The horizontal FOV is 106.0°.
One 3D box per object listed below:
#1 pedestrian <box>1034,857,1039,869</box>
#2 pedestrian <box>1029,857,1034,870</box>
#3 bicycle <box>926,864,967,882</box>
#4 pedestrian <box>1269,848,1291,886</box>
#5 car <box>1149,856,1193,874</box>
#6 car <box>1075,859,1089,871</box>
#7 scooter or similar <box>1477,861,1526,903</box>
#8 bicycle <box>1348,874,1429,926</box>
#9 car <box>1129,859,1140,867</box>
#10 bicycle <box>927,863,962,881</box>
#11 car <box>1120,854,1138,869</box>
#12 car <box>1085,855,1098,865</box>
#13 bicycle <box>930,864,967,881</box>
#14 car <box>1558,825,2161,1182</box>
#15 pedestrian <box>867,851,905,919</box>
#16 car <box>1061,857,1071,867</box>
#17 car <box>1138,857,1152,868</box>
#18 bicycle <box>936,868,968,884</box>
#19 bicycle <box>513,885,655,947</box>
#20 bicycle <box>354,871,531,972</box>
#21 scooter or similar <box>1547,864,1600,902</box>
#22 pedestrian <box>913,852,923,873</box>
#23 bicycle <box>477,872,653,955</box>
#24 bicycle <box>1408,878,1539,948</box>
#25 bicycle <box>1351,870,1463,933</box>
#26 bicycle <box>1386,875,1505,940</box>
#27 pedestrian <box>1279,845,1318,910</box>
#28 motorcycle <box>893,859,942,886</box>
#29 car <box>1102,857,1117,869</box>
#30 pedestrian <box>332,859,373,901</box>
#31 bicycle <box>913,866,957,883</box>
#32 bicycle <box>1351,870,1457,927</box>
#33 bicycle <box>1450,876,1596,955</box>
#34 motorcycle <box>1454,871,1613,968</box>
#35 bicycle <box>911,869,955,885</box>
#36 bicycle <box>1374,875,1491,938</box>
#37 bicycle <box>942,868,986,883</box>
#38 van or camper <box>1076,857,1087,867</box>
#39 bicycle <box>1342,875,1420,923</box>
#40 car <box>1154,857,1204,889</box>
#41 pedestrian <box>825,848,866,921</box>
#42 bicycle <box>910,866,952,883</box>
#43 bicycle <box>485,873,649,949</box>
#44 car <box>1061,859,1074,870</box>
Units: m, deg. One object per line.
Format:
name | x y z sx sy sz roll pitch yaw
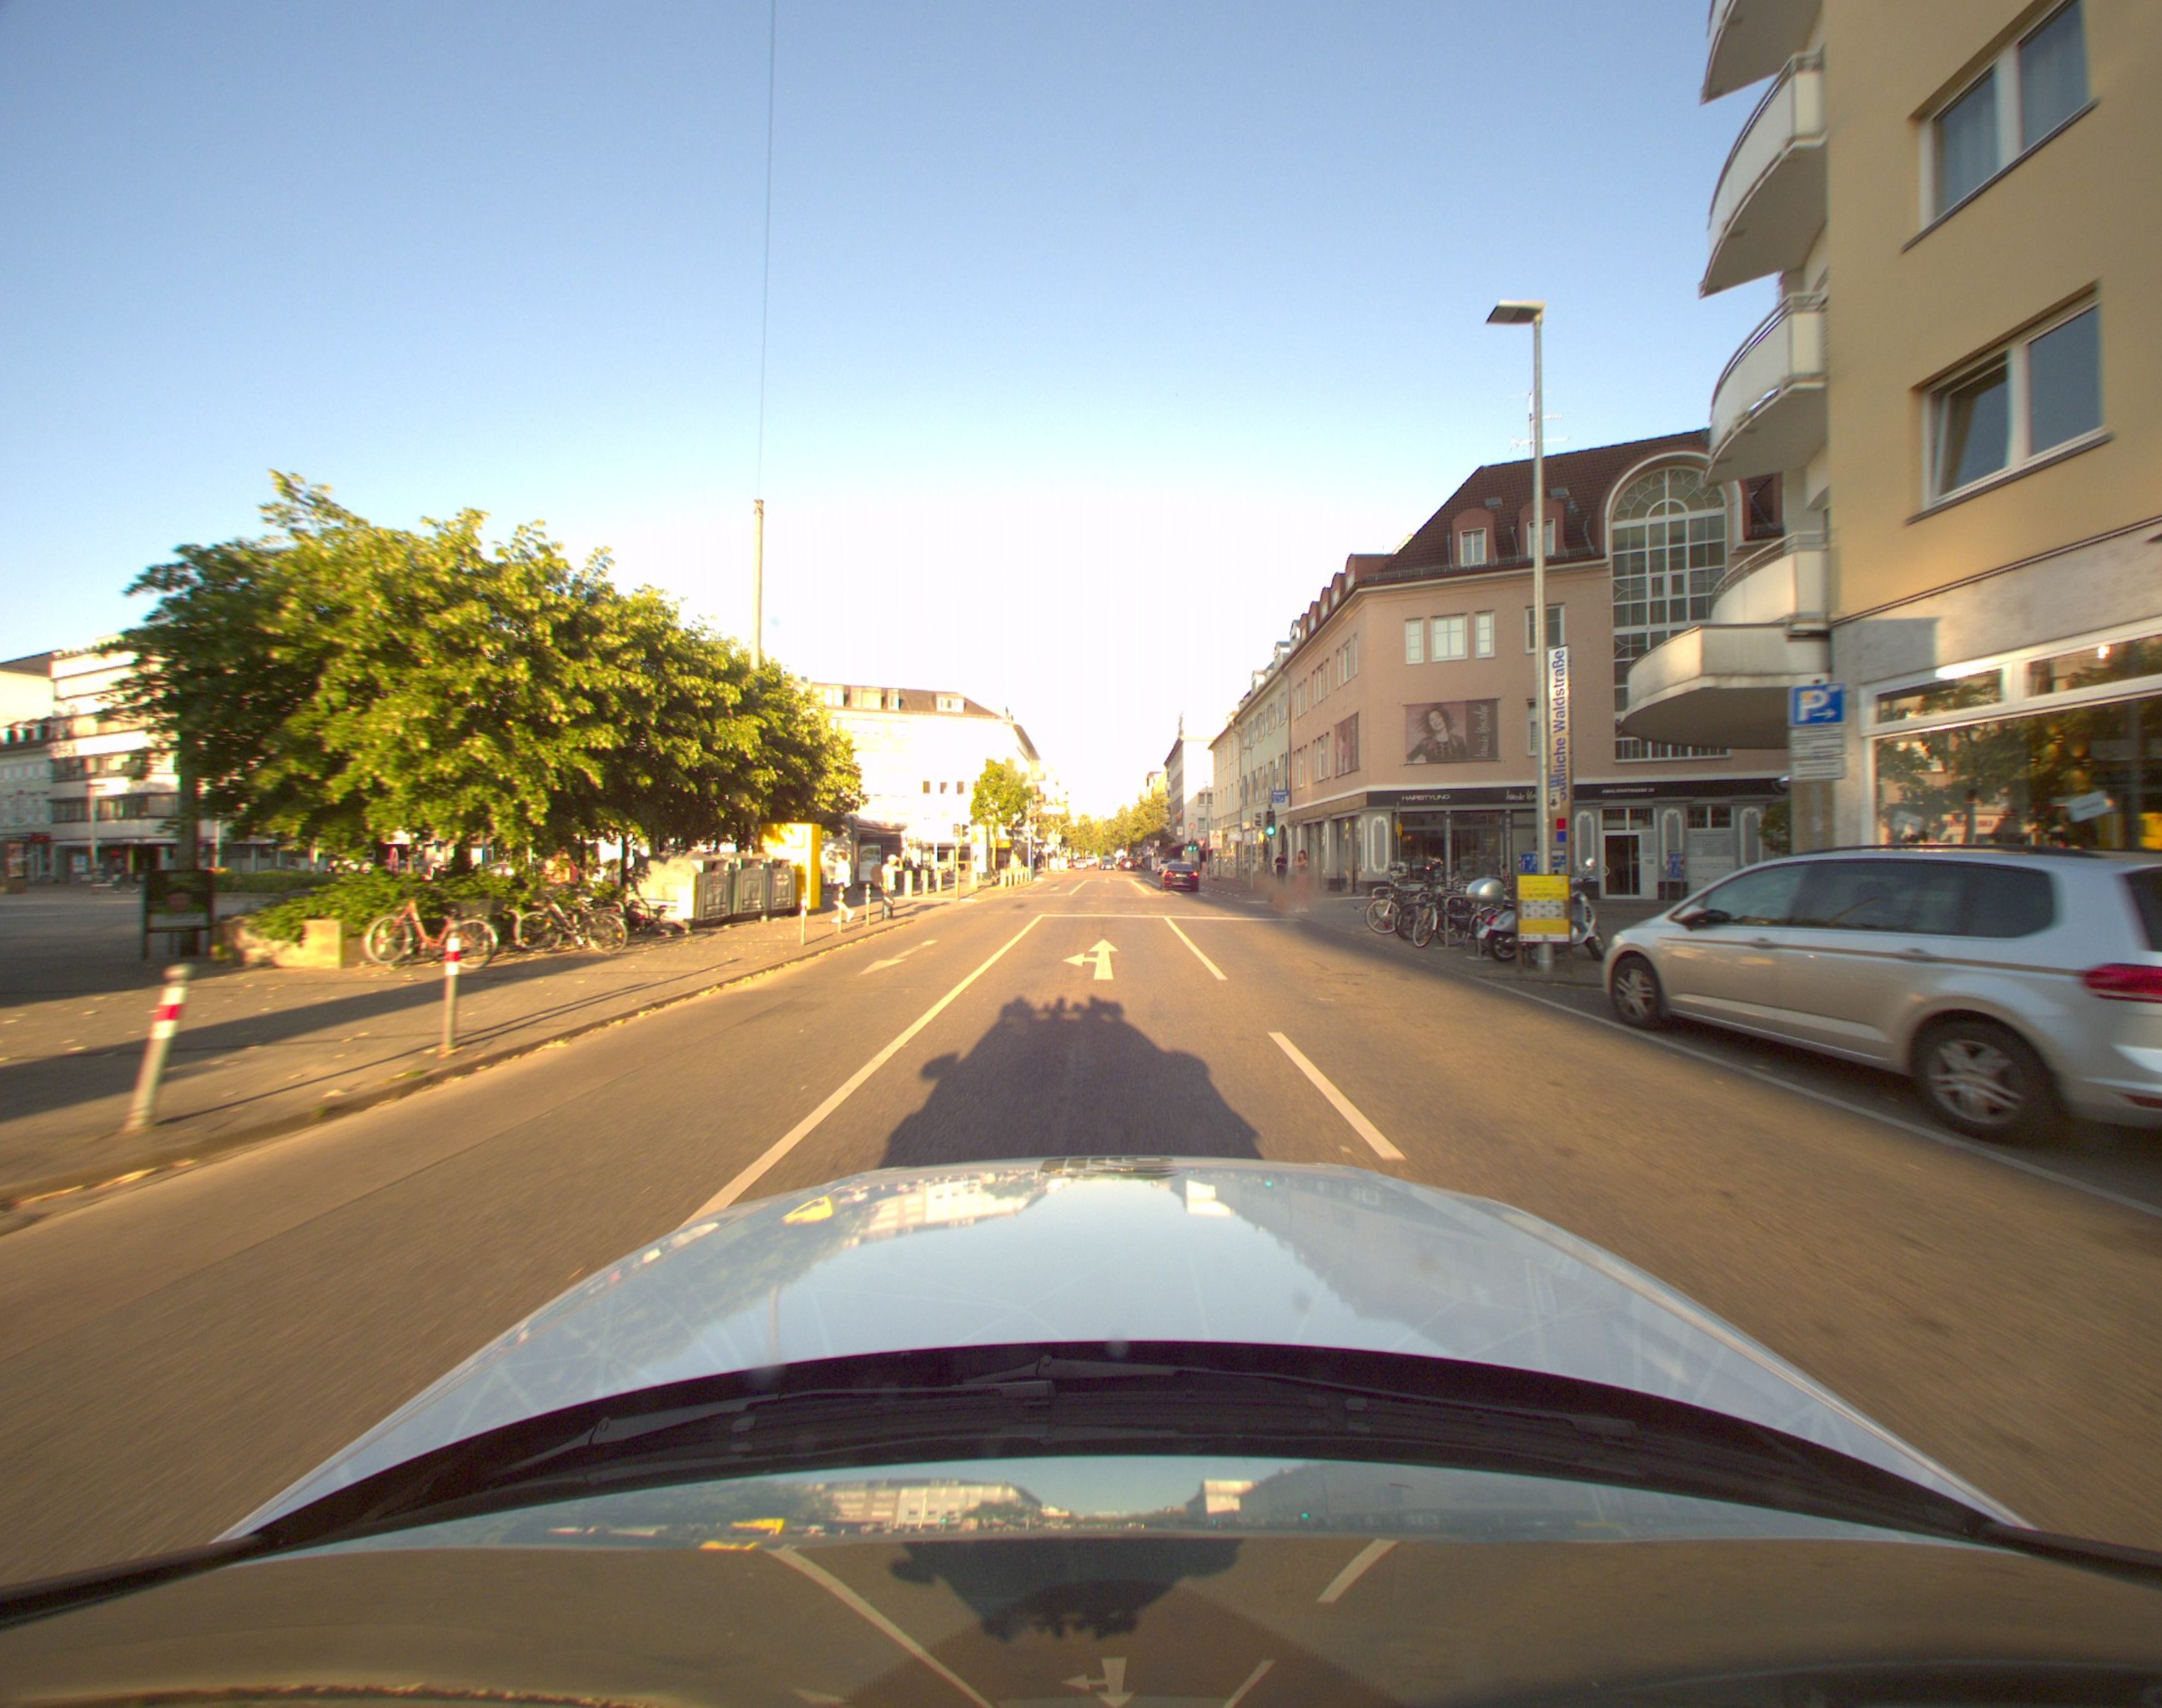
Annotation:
pedestrian | -6.121 1.223 111.187 0.600 1.721 0.575 0 -1 -12
pedestrian | -6.606 1.218 109.055 0.681 1.721 0.702 0 -1 2
bicycle | -8.681 1.209 52.694 2.516 1.146 0.700 0 -1 -1
pedestrian | 9.567 0.628 39.213 0.755 1.777 1.047 0 -1 -3
car | 8.287 0.948 74.998 2.311 1.604 3.918 0 0 38
car | 0.157 1.600 119.509 1.886 1.596 4.004 0 0 3
scooter or similar | 12.889 0.838 25.012 1.305 1.264 0.527 0 -1 23
bicycle | 6.463 0.968 17.125 1.496 1.026 0.512 -1 0 -3
car | 9.822 1.655 150.577 1.775 1.596 3.633 0 0 -1
bicycle | -9.025 1.196 53.918 2.229 1.135 0.811 0 -1 -1
car | 5.612 0.899 95.962 1.986 1.750 4.002 0 0 2
car | 1.835 0.996 138.252 1.985 1.750 4.004 0 0 3
bicycle | -8.913 1.232 54.832 2.313 1.131 0.800 0 -1 3
car | 5.895 0.686 6.013 1.987 1.613 4.804 0 0 1
pedestrian | -4.959 0.777 20.760 0.881 1.720 0.713 0 -1 -10
car | -3.283 1.768 179.543 1.820 2.014 3.679 0 0 3
car | 9.605 1.225 123.040 1.985 1.617 4.002 0 0 2
bicycle | -8.917 1.508 56.179 2.083 1.063 0.682 0 -1 2
bicycle | -8.658 1.070 14.243 2.036 0.971 0.636 2 -1 0
bicycle | -9.008 0.900 11.471 2.481 1.284 0.820 0 -1 22
scooter or similar | 15.209 0.883 25.191 1.307 1.164 0.511 0 -1 13
pedestrian | -12.386 0.659 61.918 0.551 1.611 0.636 0 -1 -32
bicycle | -8.185 0.931 12.963 2.423 1.237 0.517 1 -1 -1
bicycle | 6.427 0.957 13.387 1.879 1.113 0.593 0 -2 -2
bicycle | 6.273 0.902 15.718 1.879 1.167 0.722 -1 0 -2
bicycle | 6.347 0.924 14.222 1.879 1.112 0.521 0 -1 -2
pedestrian | 5.870 0.622 21.983 0.793 1.720 0.810 0 -1 -5
motorcycle | -8.949 0.991 44.635 2.404 1.426 1.113 0 -1 1
car | 3.702 1.115 104.542 1.877 1.486 4.004 0 0 3
pedestrian | -31.557 1.112 35.263 0.700 1.778 1.201 -1 -1 37
bicycle | -8.959 1.255 50.020 2.516 0.997 0.933 0 -1 -1
bicycle | 6.529 0.897 16.521 1.879 1.112 0.761 0 0 -2
bicycle | 6.630 0.913 12.263 1.879 1.112 0.593 -1 0 -2
motorcycle | 6.296 0.892 11.390 1.807 1.263 0.715 -1 0 -1
bicycle | -8.875 1.392 48.897 2.516 0.919 0.700 0 -1 -1
bicycle | 6.345 0.943 14.762 1.878 1.112 0.601 0 -1 -1
bicycle | -8.176 1.510 57.035 2.929 1.022 0.844 0 -1 4
van or camper | 0.140 1.811 189.972 2.466 2.405 3.997 0 0 -2
bicycle | 6.476 0.963 17.614 1.495 1.015 0.512 0 -1 -1
car | 4.747 0.908 40.112 1.883 1.492 4.202 0 0 -1
pedestrian | -5.692 0.723 19.675 0.872 1.720 0.754 0 -1 -23
bicycle | -8.829 1.204 47.904 2.320 0.919 0.700 0 -1 -1
bicycle | -8.589 0.951 13.656 2.423 1.237 0.462 0 -1 -1
car | -2.166 1.685 132.089 1.886 1.596 4.004 0 0 3
